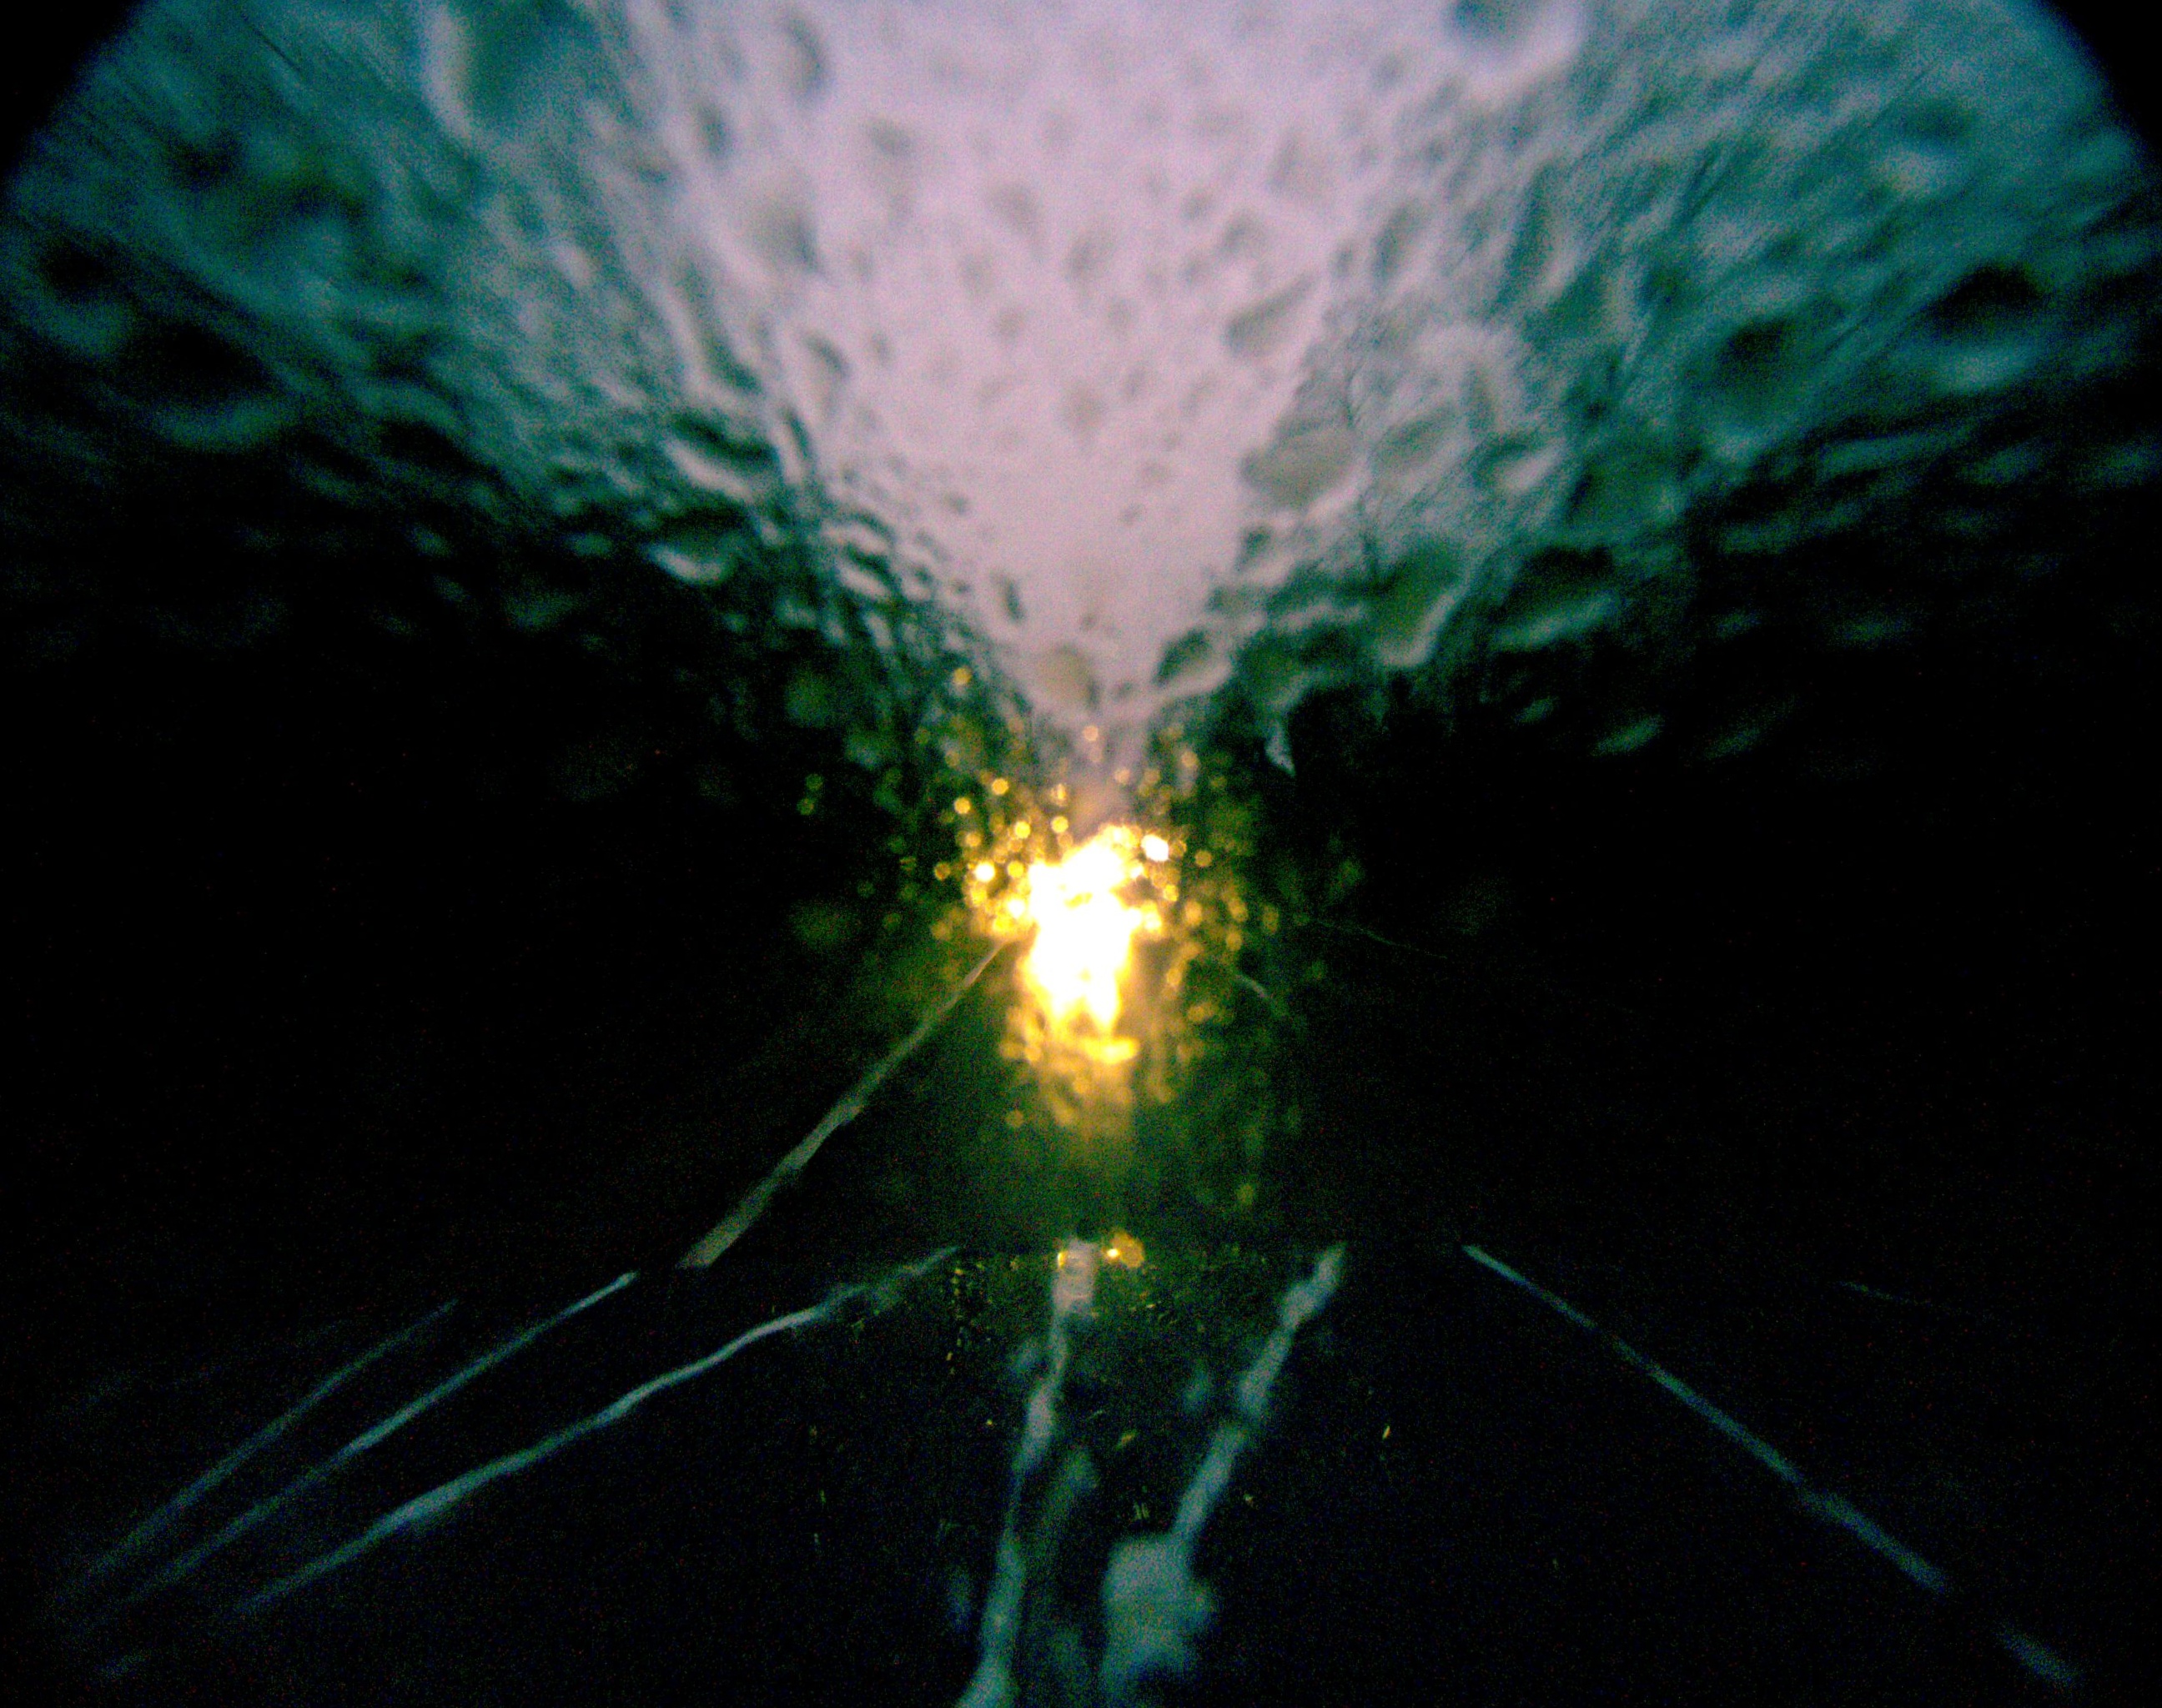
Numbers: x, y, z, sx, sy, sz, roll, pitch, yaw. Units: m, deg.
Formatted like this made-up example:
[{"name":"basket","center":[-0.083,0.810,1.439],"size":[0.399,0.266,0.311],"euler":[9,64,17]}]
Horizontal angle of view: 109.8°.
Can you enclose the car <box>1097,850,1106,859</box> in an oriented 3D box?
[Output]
[{"name":"car","center":[4.718,0.023,174.538],"size":[2.012,1.977,5.031],"euler":[1,0,-1]}]

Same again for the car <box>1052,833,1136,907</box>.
[{"name":"car","center":[0.454,0.470,26.735],"size":[2.542,2.213,6.169],"euler":[-2,0,1]}]

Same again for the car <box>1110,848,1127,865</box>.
[{"name":"car","center":[4.393,0.282,89.685],"size":[1.801,1.870,4.425],"euler":[0,0,0]}]
